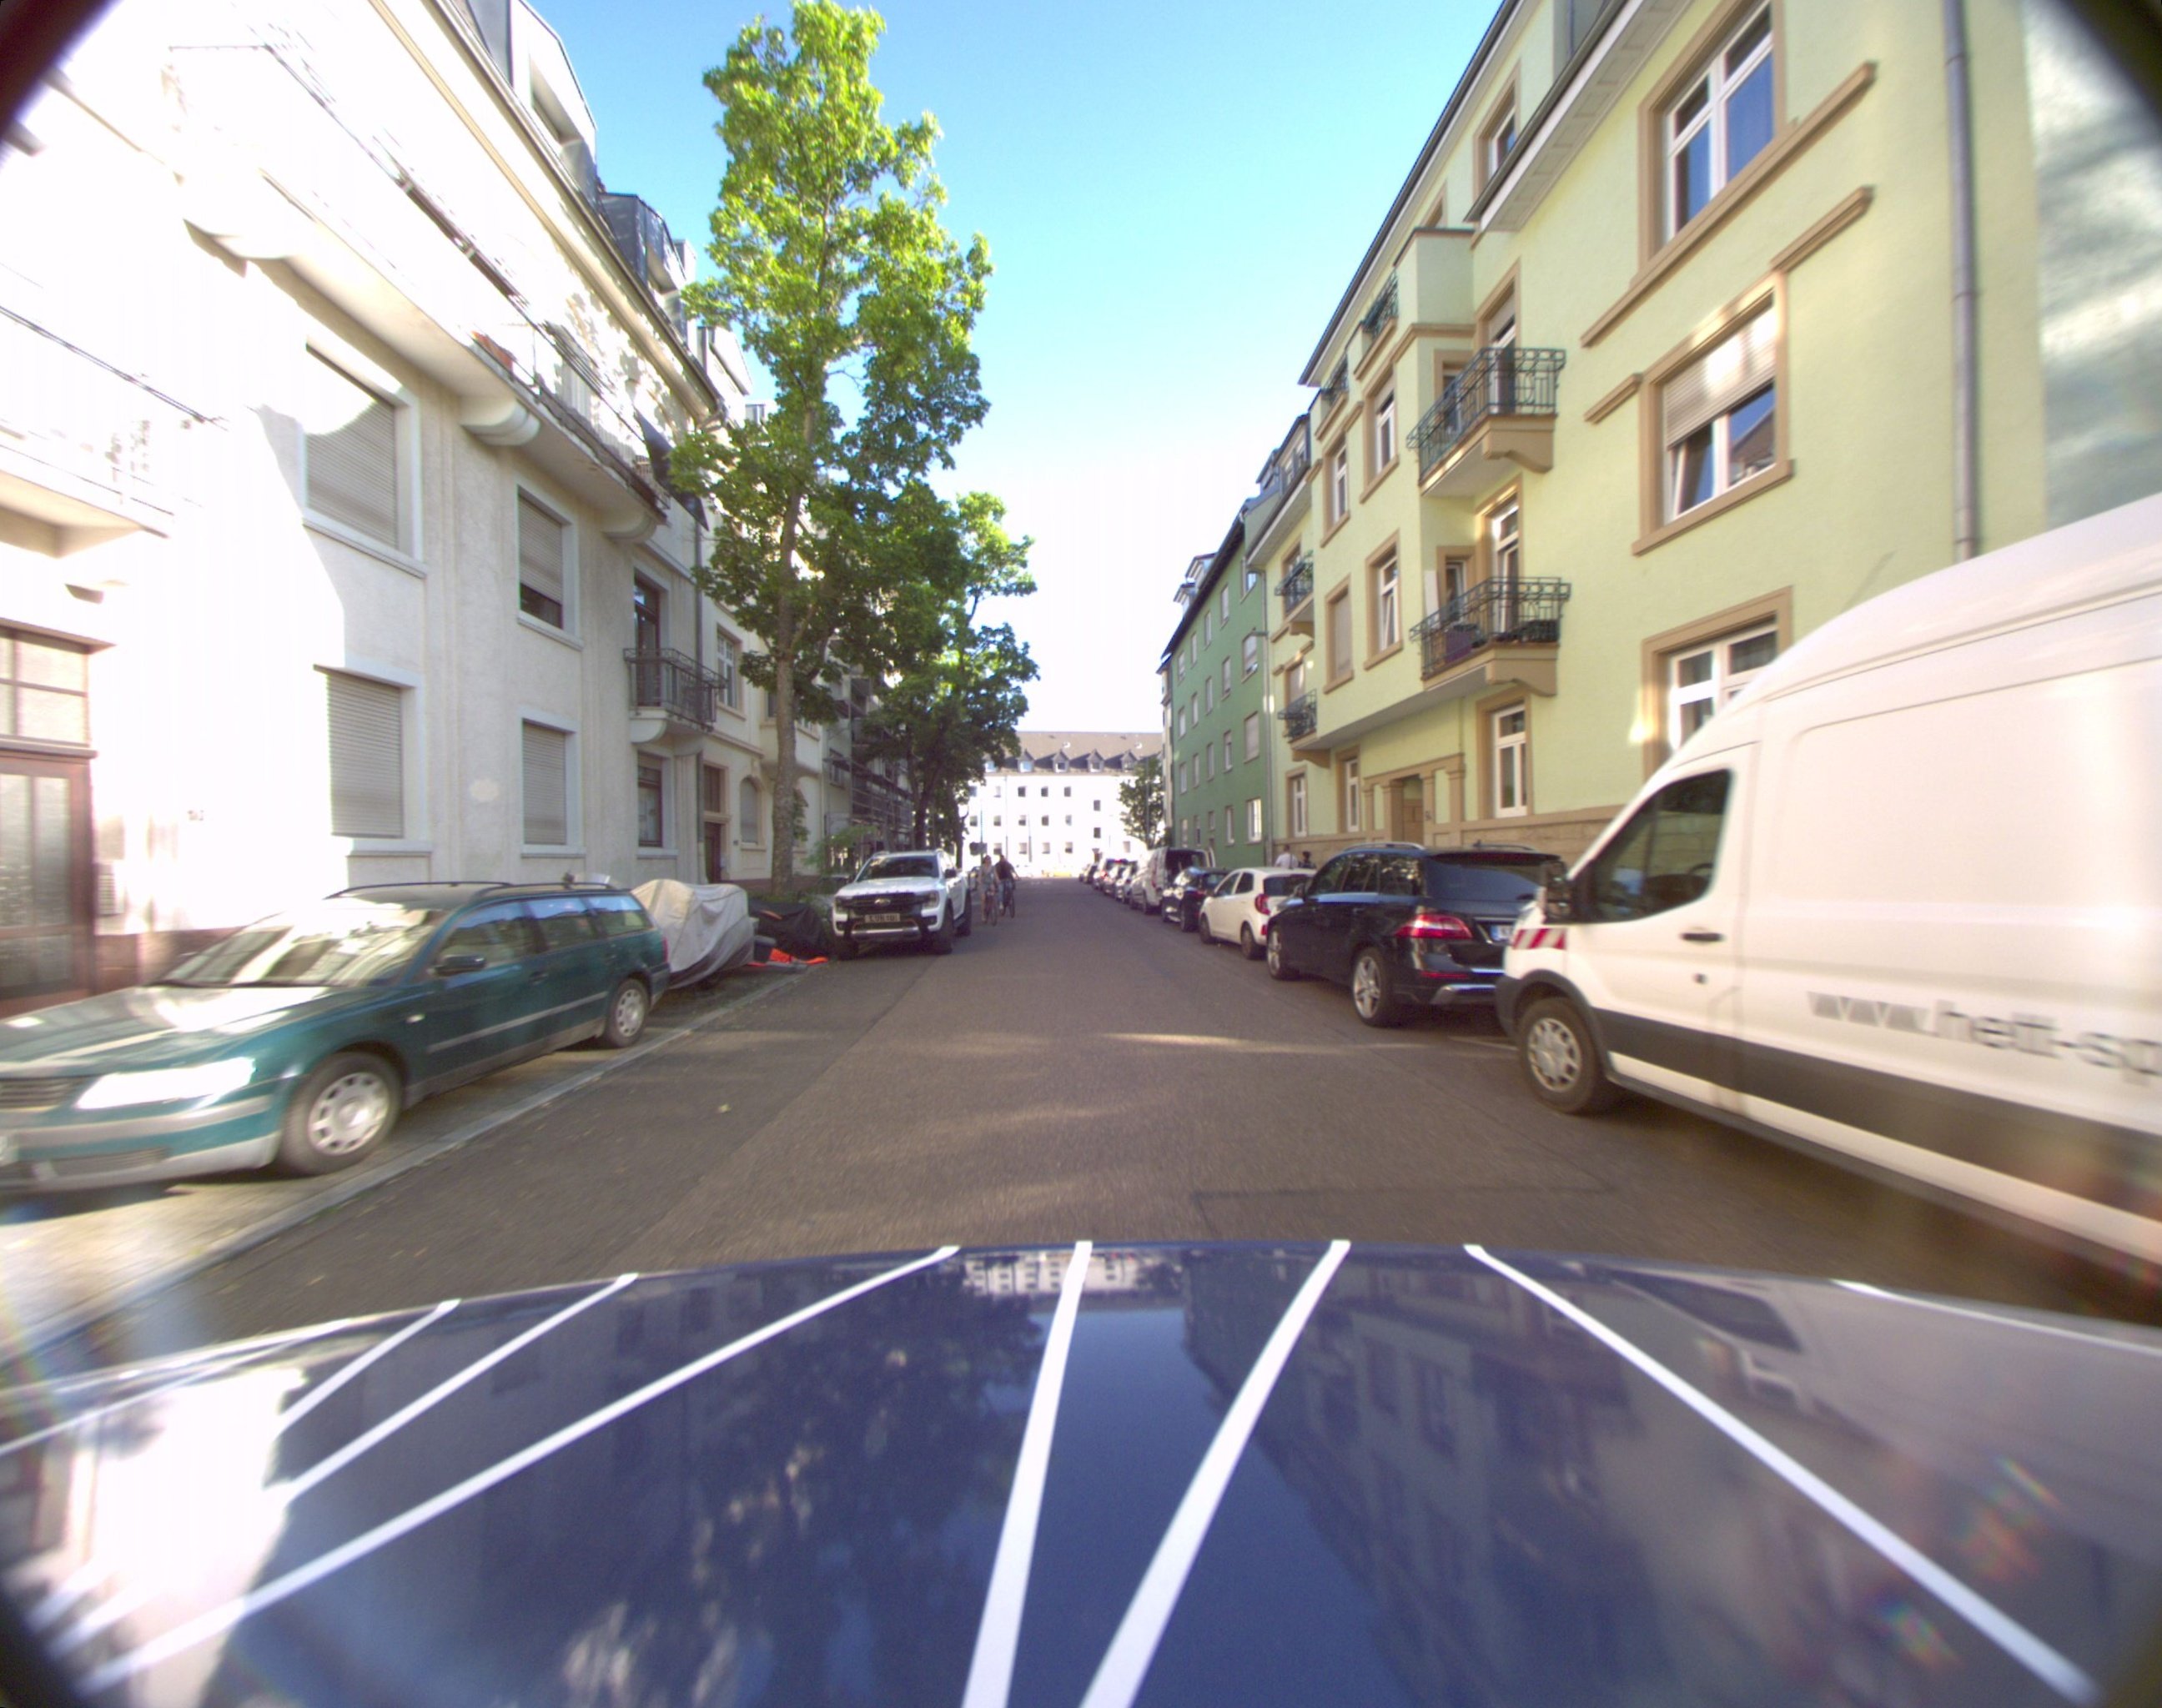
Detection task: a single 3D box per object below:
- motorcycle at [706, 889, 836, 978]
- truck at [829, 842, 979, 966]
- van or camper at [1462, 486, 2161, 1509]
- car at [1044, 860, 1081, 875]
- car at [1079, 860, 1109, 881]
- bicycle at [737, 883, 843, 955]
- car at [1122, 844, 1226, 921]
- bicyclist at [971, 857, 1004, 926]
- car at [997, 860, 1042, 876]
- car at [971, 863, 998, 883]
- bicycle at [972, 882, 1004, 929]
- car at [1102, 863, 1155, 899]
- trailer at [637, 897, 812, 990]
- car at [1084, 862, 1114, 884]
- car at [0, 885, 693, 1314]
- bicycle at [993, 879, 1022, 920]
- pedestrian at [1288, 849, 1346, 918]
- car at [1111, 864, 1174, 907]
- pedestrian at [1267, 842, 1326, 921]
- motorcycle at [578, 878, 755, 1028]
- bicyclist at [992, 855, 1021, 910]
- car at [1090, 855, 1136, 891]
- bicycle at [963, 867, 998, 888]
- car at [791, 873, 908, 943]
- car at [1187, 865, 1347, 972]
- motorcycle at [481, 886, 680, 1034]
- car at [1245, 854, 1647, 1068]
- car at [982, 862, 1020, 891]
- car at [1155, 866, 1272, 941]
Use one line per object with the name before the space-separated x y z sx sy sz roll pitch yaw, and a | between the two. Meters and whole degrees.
motorcycle | -4.958 1.232 12.228 1.768 1.233 0.700 -1 0 -42
truck | -3.188 0.807 14.888 1.833 1.937 5.539 -1 0 -3
van or camper | 3.959 0.401 2.554 2.134 2.753 5.850 1 0 -3
car | -1.979 1.402 80.552 3.614 1.440 1.552 -1 1 -11
car | 0.983 1.282 59.301 1.724 1.546 4.071 1 0 -8
bicycle | -5.535 1.225 14.514 1.764 1.297 0.586 -1 0 -4
car | 2.815 0.819 24.384 2.258 2.156 5.241 2 0 -5
bicyclist | -2.381 0.945 19.475 0.717 1.679 0.981 -3 1 -7
car | -6.486 1.457 79.728 4.494 1.498 1.944 -1 0 -9
car | -7.182 1.389 56.777 1.666 1.399 4.506 2 0 -3
bicycle | -2.377 1.302 19.522 0.708 1.039 1.857 -4 1 -6
car | 2.101 1.180 35.025 1.725 1.453 4.504 2 0 -6
trailer | -5.008 1.226 10.873 2.088 1.105 1.114 -1 0 -17
car | 1.228 1.296 53.956 1.771 1.444 4.206 2 -1 -4
car | -4.791 1.072 5.385 1.755 1.520 4.780 0 0 -2
bicycle | -2.163 1.321 22.451 0.741 1.054 1.857 -2 1 -4
pedestrian | 5.964 0.727 19.280 0.995 1.665 1.243 -2 0 -3
car | 2.351 1.184 30.008 1.838 1.453 4.361 2 0 -4
pedestrian | 5.238 0.653 18.544 0.995 1.850 1.243 -2 0 -3
motorcycle | -4.763 1.064 8.964 0.932 1.477 2.138 -1 0 -2
bicyclist | -2.187 0.814 22.426 0.757 1.556 0.981 -2 0 -3
car | 1.702 0.993 41.892 1.777 1.832 4.413 1 0 -7
bicycle | -6.158 1.433 46.539 1.974 1.148 0.750 3 0 -17
car | -5.453 1.210 18.452 1.685 1.413 4.429 1 0 -3
car | 3.112 1.005 13.582 1.640 1.543 4.087 0 0 -4
motorcycle | -5.707 1.132 8.892 0.863 1.408 2.234 -2 0 -2
car | 3.452 0.875 8.522 1.881 1.675 4.968 1 0 -3
car | -4.537 1.258 43.748 1.807 1.526 3.963 -2 0 -1
car | 3.016 1.083 18.338 1.771 1.512 4.824 0 0 -3
